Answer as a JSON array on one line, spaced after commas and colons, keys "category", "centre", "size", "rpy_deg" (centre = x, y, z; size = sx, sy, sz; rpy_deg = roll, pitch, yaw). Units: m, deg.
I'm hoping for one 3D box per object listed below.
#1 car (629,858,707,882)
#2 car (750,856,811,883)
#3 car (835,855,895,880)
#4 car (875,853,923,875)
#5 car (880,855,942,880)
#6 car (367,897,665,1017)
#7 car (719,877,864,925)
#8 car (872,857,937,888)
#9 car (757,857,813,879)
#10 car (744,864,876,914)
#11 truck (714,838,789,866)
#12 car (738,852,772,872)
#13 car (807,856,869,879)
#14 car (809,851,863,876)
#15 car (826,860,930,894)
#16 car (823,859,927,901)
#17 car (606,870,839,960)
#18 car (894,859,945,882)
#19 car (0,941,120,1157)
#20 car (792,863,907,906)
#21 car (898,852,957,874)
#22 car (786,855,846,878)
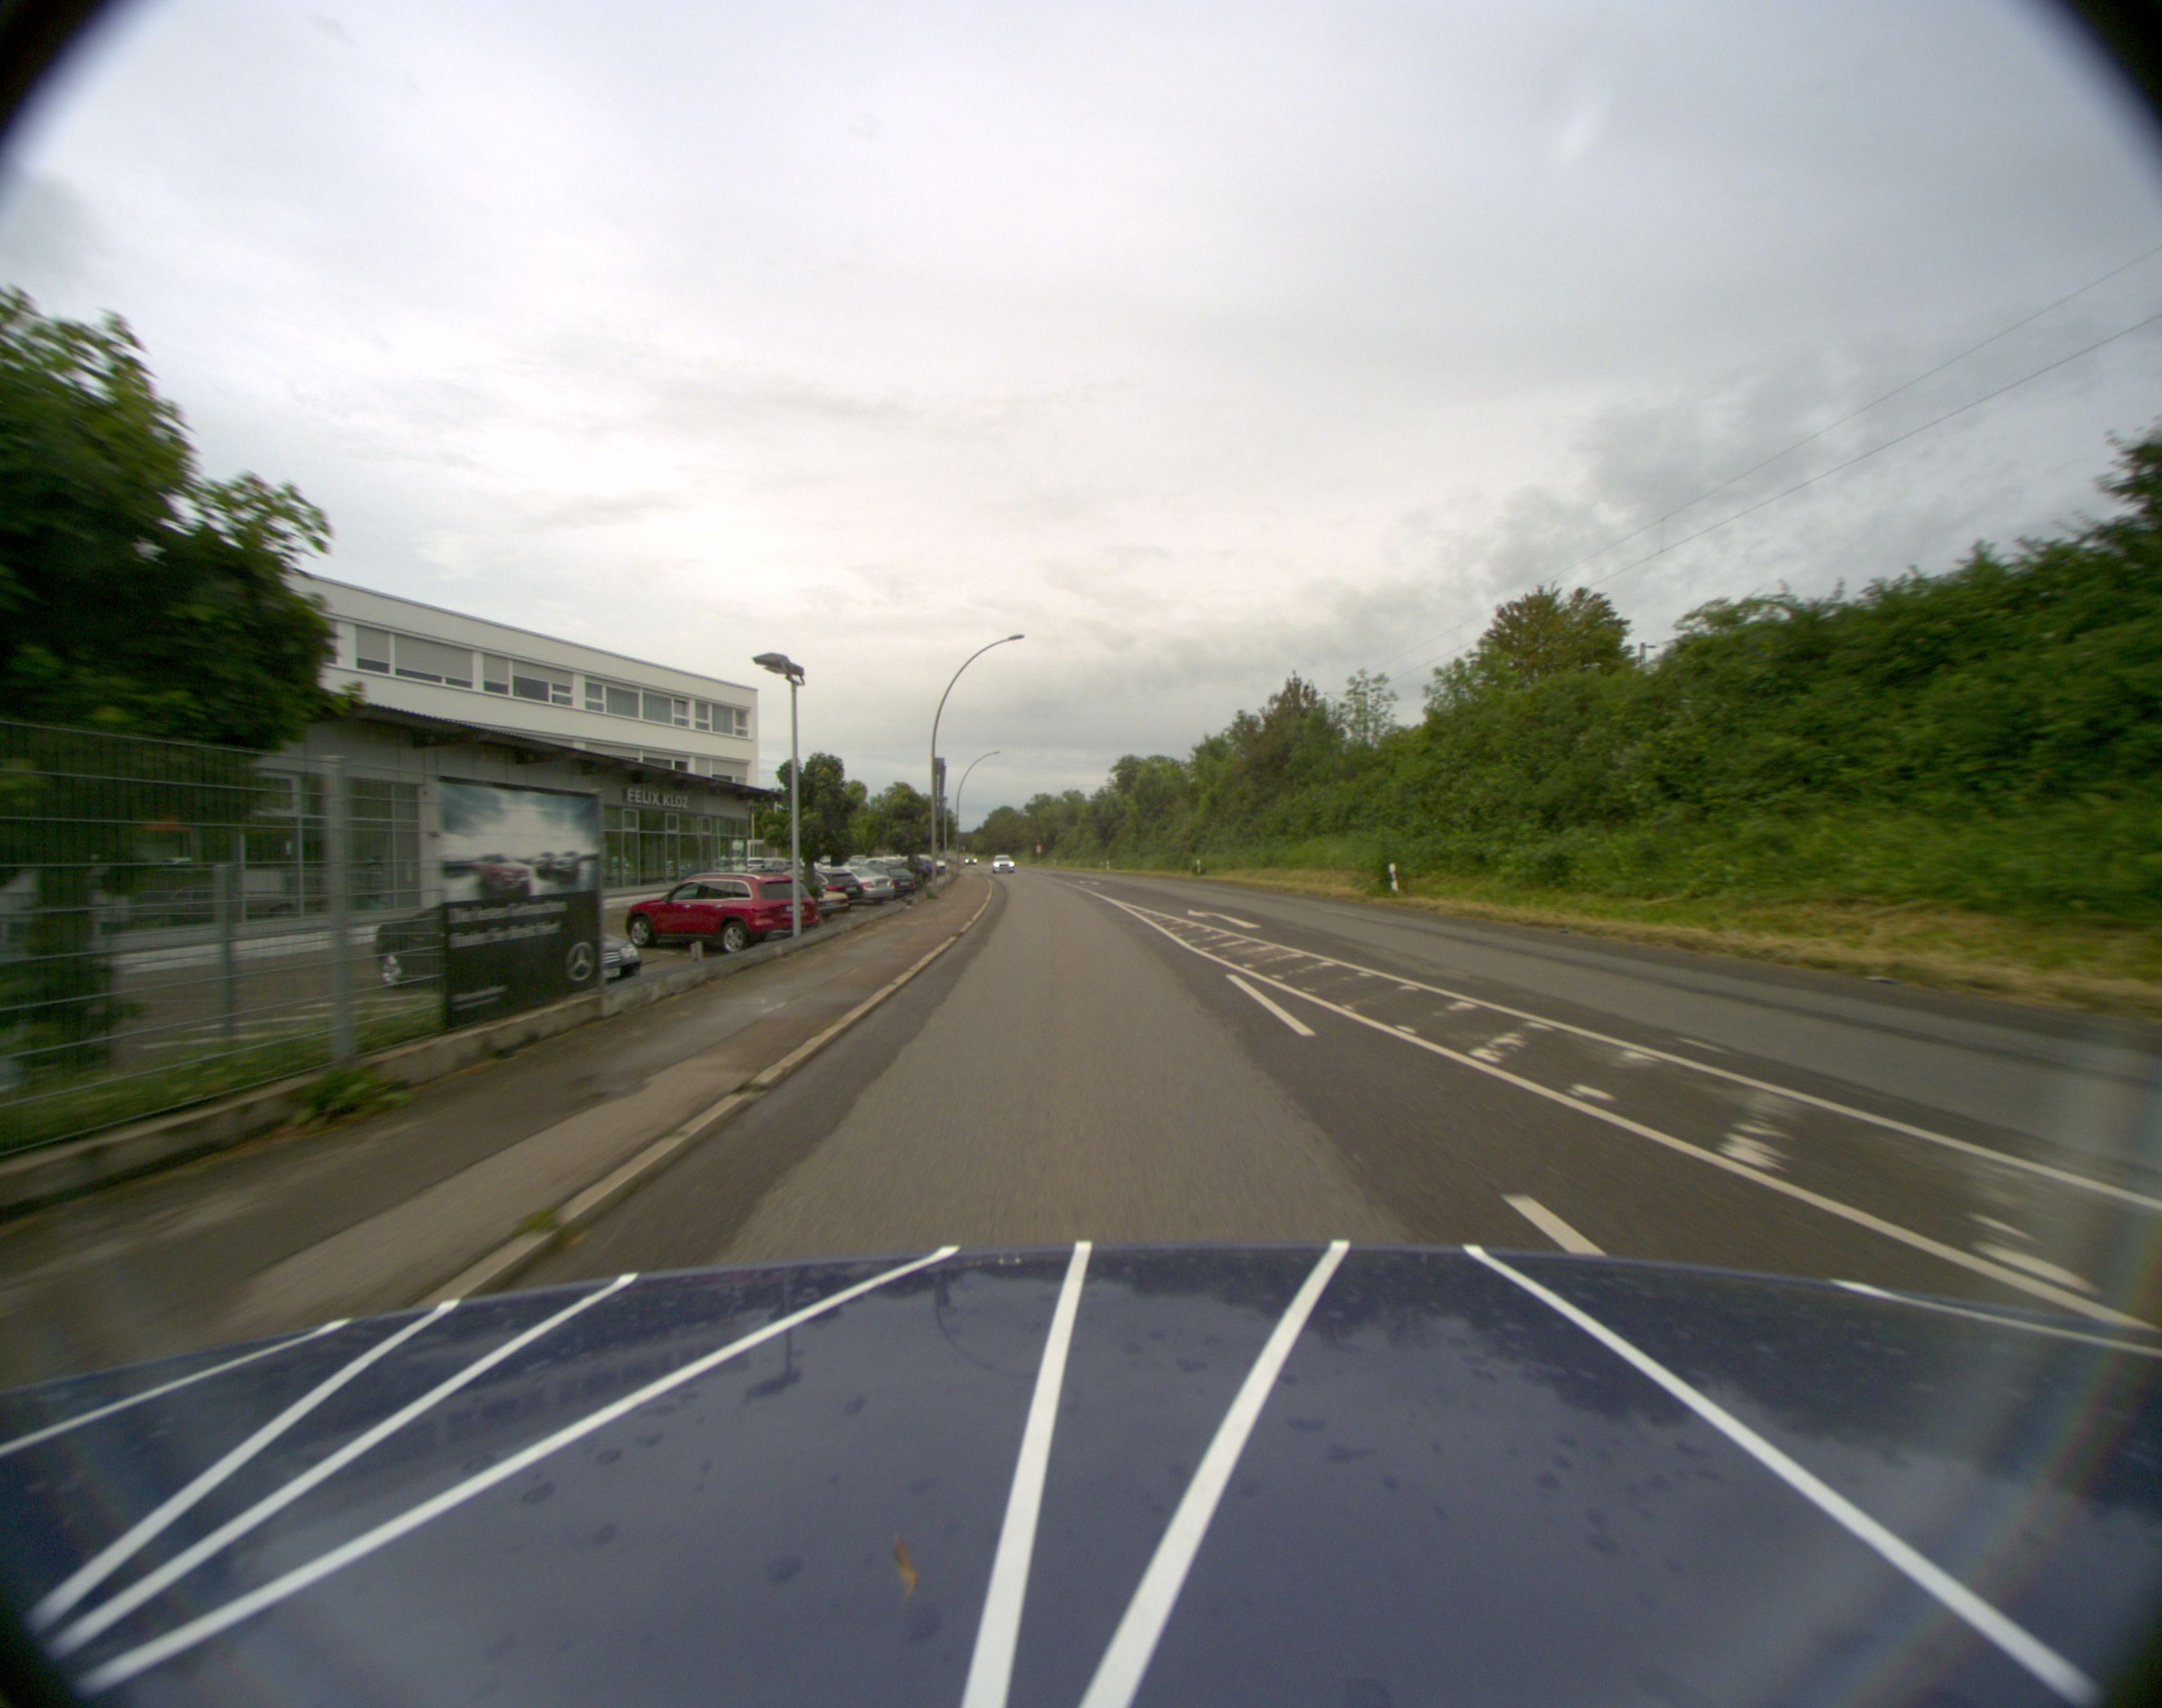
[{"category": "car", "centre": [-26.285, 1.016, 48.349], "size": [4.400, 1.433, 2.003], "rpy_deg": [0, 0, 22]}, {"category": "car", "centre": [-22.495, 1.133, 56.984], "size": [1.768, 1.632, 3.992], "rpy_deg": [-2, 3, 27]}, {"category": "car", "centre": [-14.994, 0.899, 52.992], "size": [1.728, 1.590, 4.186], "rpy_deg": [1, 1, 23]}, {"category": "car", "centre": [-14.087, 0.777, 59.012], "size": [1.659, 1.590, 3.565], "rpy_deg": [1, 1, 29]}, {"category": "car", "centre": [-11.820, 0.907, 53.052], "size": [1.838, 1.623, 4.374], "rpy_deg": [1, 1, 28]}, {"category": "car", "centre": [-8.602, 1.433, 11.566], "size": [4.155, 1.433, 1.813], "rpy_deg": [-1, 0, 24]}, {"category": "car", "centre": [-9.110, 1.430, 23.893], "size": [4.225, 1.294, 1.737], "rpy_deg": [-1, 3, 24]}, {"category": "car", "centre": [-9.678, 0.980, 41.478], "size": [1.845, 1.598, 4.538], "rpy_deg": [0, 0, -36]}, {"category": "car", "centre": [-20.389, 0.948, 52.336], "size": [3.553, 1.469, 1.784], "rpy_deg": [0, 0, 30]}, {"category": "car", "centre": [-9.436, 1.223, 26.498], "size": [3.960, 1.484, 1.978], "rpy_deg": [-3, 2, 24]}, {"category": "truck", "centre": [-35.594, -0.301, 82.526], "size": [2.784, 2.608, 8.480], "rpy_deg": [-3, 2, 13]}, {"category": "car", "centre": [-26.055, 0.680, 60.728], "size": [1.775, 1.542, 3.441], "rpy_deg": [-1, -1, -35]}, {"category": "car", "centre": [-17.369, 0.925, 54.523], "size": [1.899, 1.536, 4.007], "rpy_deg": [-1, 0, 27]}, {"category": "car", "centre": [-19.779, 0.726, 61.522], "size": [1.675, 1.711, 4.005], "rpy_deg": [-2, 3, 27]}, {"category": "car", "centre": [-9.456, 1.044, 35.353], "size": [4.432, 1.471, 1.938], "rpy_deg": [-1, 0, 26]}, {"category": "car", "centre": [-8.656, 1.101, 31.865], "size": [3.989, 1.547, 1.902], "rpy_deg": [-2, 2, 31]}, {"category": "car", "centre": [-7.968, 1.299, 16.874], "size": [4.686, 1.653, 2.002], "rpy_deg": [-2, 2, 24]}, {"category": "car", "centre": [-12.130, 1.203, 57.265], "size": [1.727, 1.590, 3.822], "rpy_deg": [1, 1, 29]}, {"category": "car", "centre": [-9.067, 1.434, 5.065], "size": [2.725, 1.436, 1.999], "rpy_deg": [1, 2, 0]}, {"category": "car", "centre": [-8.960, 1.136, 29.358], "size": [4.163, 1.459, 1.840], "rpy_deg": [1, 2, 28]}, {"category": "car", "centre": [-12.796, 0.722, 63.350], "size": [4.436, 1.643, 1.921], "rpy_deg": [-1, 1, -44]}, {"category": "car", "centre": [-19.591, 0.901, 56.363], "size": [1.899, 1.536, 4.007], "rpy_deg": [-1, 0, 26]}]
